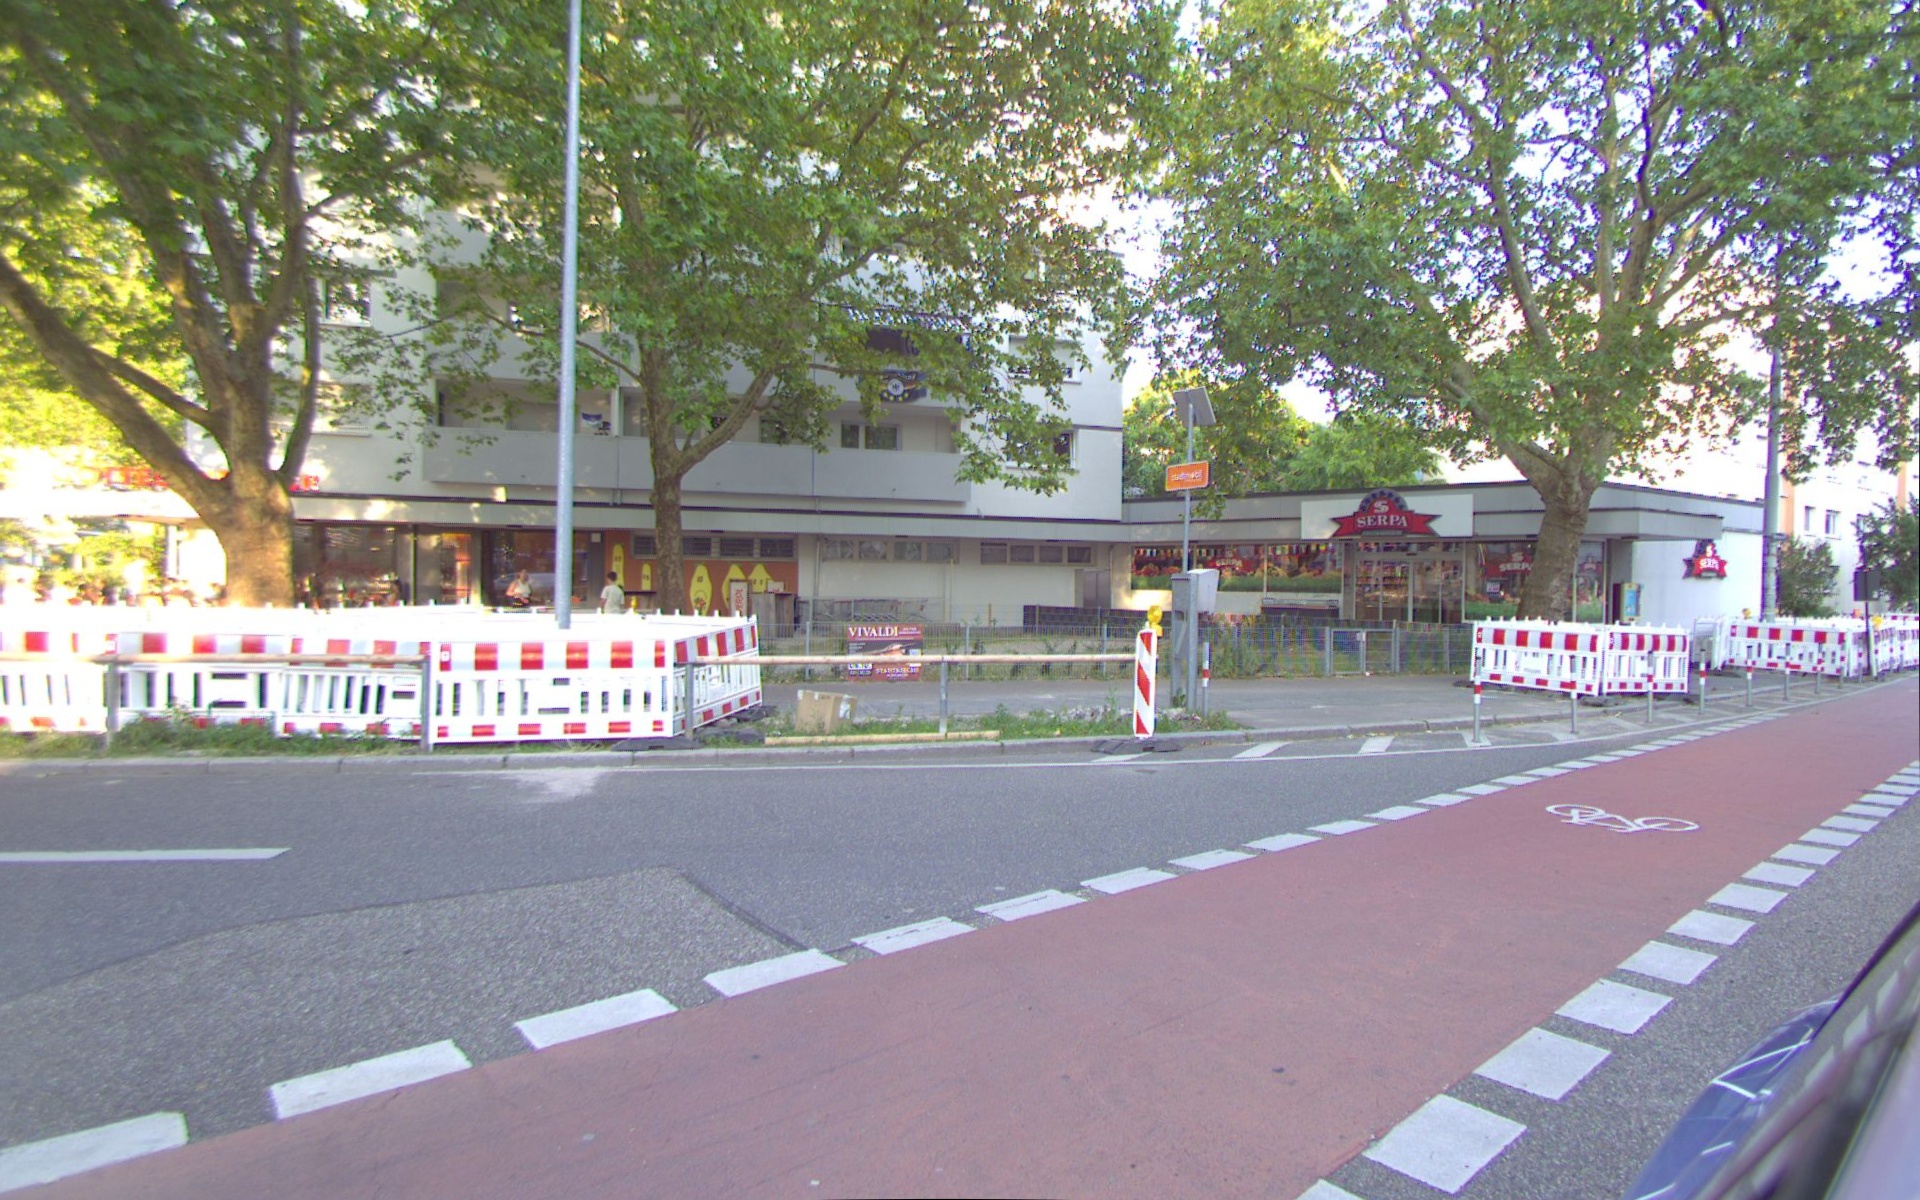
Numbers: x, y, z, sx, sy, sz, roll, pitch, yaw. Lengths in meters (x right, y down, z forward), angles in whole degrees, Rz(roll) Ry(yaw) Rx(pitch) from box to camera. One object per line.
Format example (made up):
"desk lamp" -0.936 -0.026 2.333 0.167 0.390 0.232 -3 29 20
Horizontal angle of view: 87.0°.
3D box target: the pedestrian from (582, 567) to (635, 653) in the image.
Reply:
"pedestrian" -6.740 0.175 19.412 0.639 1.608 0.735 0 0 43

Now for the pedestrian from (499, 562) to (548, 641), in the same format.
"pedestrian" -9.087 0.021 21.064 0.639 1.608 0.735 0 0 43
